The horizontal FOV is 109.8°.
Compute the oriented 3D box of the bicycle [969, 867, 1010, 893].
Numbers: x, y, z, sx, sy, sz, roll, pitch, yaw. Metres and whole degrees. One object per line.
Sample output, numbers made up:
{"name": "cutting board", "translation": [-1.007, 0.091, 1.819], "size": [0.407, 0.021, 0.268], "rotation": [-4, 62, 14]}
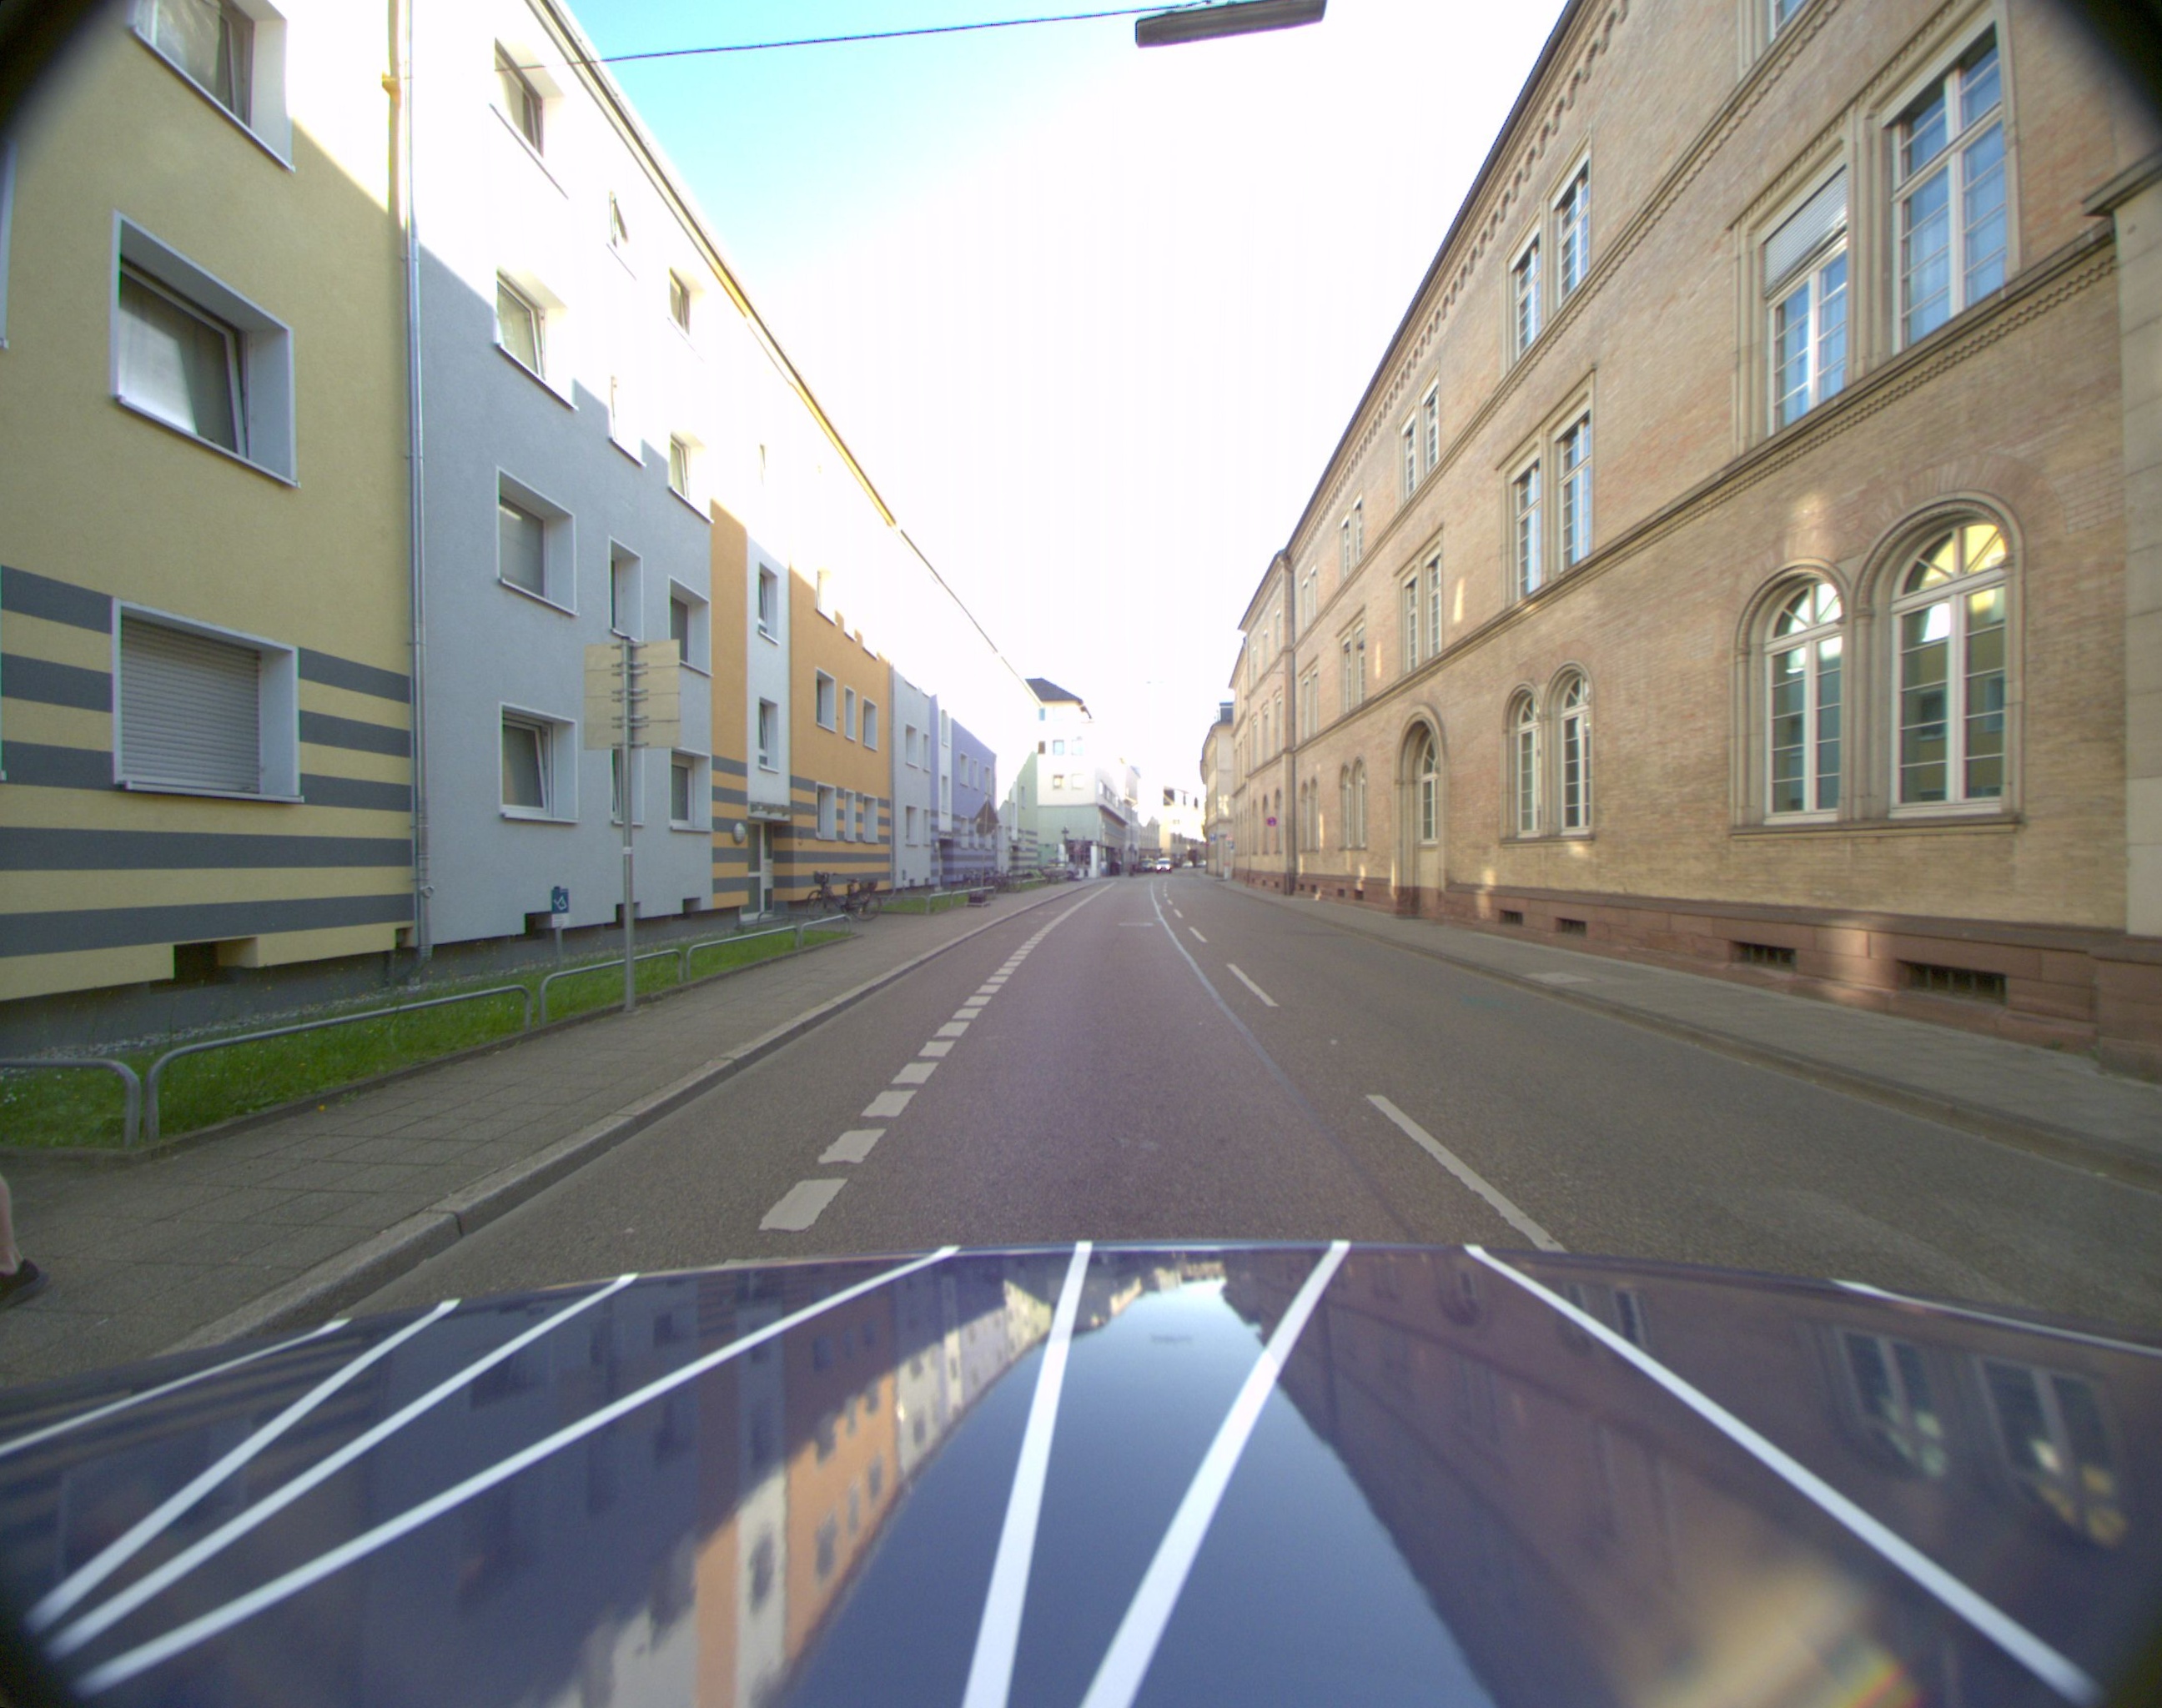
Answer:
{"name": "bicycle", "translation": [-3.962, 1.114, 32.983], "size": [1.710, 1.075, 0.636], "rotation": [1, 0, 1]}

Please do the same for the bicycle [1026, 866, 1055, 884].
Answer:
{"name": "bicycle", "translation": [-2.434, 1.265, 46.103], "size": [1.711, 1.097, 0.584], "rotation": [1, 0, -2]}

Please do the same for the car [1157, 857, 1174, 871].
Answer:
{"name": "car", "translation": [10.280, 1.200, 92.720], "size": [1.922, 1.712, 4.963], "rotation": [0, 0, 8]}

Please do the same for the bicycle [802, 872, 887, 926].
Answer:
{"name": "bicycle", "translation": [-5.301, 1.002, 17.087], "size": [1.711, 1.152, 0.636], "rotation": [1, 0, -2]}

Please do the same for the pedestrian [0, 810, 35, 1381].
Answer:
{"name": "pedestrian", "translation": [-3.673, 0.738, 1.955], "size": [0.646, 1.778, 0.916], "rotation": [3, 1, 4]}

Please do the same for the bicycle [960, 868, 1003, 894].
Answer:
{"name": "bicycle", "translation": [-4.163, 1.138, 31.841], "size": [1.710, 1.039, 0.636], "rotation": [1, 0, 2]}

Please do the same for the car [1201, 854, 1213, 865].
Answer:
{"name": "car", "translation": [19.945, 0.846, 120.388], "size": [1.662, 1.714, 3.743], "rotation": [0, 0, 14]}

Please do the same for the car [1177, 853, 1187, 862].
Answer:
{"name": "car", "translation": [19.900, 0.669, 149.641], "size": [1.534, 1.714, 3.743], "rotation": [0, 0, 16]}

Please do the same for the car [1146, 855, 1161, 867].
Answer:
{"name": "car", "translation": [10.712, 1.034, 112.576], "size": [1.861, 1.714, 3.742], "rotation": [0, 0, 11]}

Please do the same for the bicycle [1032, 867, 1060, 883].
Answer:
{"name": "bicycle", "translation": [-2.186, 1.307, 47.563], "size": [1.711, 0.972, 0.516], "rotation": [1, 0, -2]}

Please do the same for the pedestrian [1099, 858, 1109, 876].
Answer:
{"name": "pedestrian", "translation": [1.954, 1.081, 64.735], "size": [0.707, 1.510, 0.662], "rotation": [0, 0, 17]}

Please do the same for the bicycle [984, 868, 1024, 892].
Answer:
{"name": "bicycle", "translation": [-3.402, 1.165, 33.744], "size": [1.711, 1.029, 0.636], "rotation": [1, 0, -2]}

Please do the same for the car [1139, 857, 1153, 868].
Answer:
{"name": "car", "translation": [8.624, 1.142, 100.755], "size": [1.634, 1.405, 3.687], "rotation": [0, 0, 8]}

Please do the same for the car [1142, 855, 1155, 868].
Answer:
{"name": "car", "translation": [9.450, 1.032, 106.030], "size": [1.535, 1.714, 3.741], "rotation": [0, 0, 8]}

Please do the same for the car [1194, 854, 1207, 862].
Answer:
{"name": "car", "translation": [25.717, 0.865, 163.606], "size": [1.925, 1.714, 4.236], "rotation": [0, 0, 19]}
